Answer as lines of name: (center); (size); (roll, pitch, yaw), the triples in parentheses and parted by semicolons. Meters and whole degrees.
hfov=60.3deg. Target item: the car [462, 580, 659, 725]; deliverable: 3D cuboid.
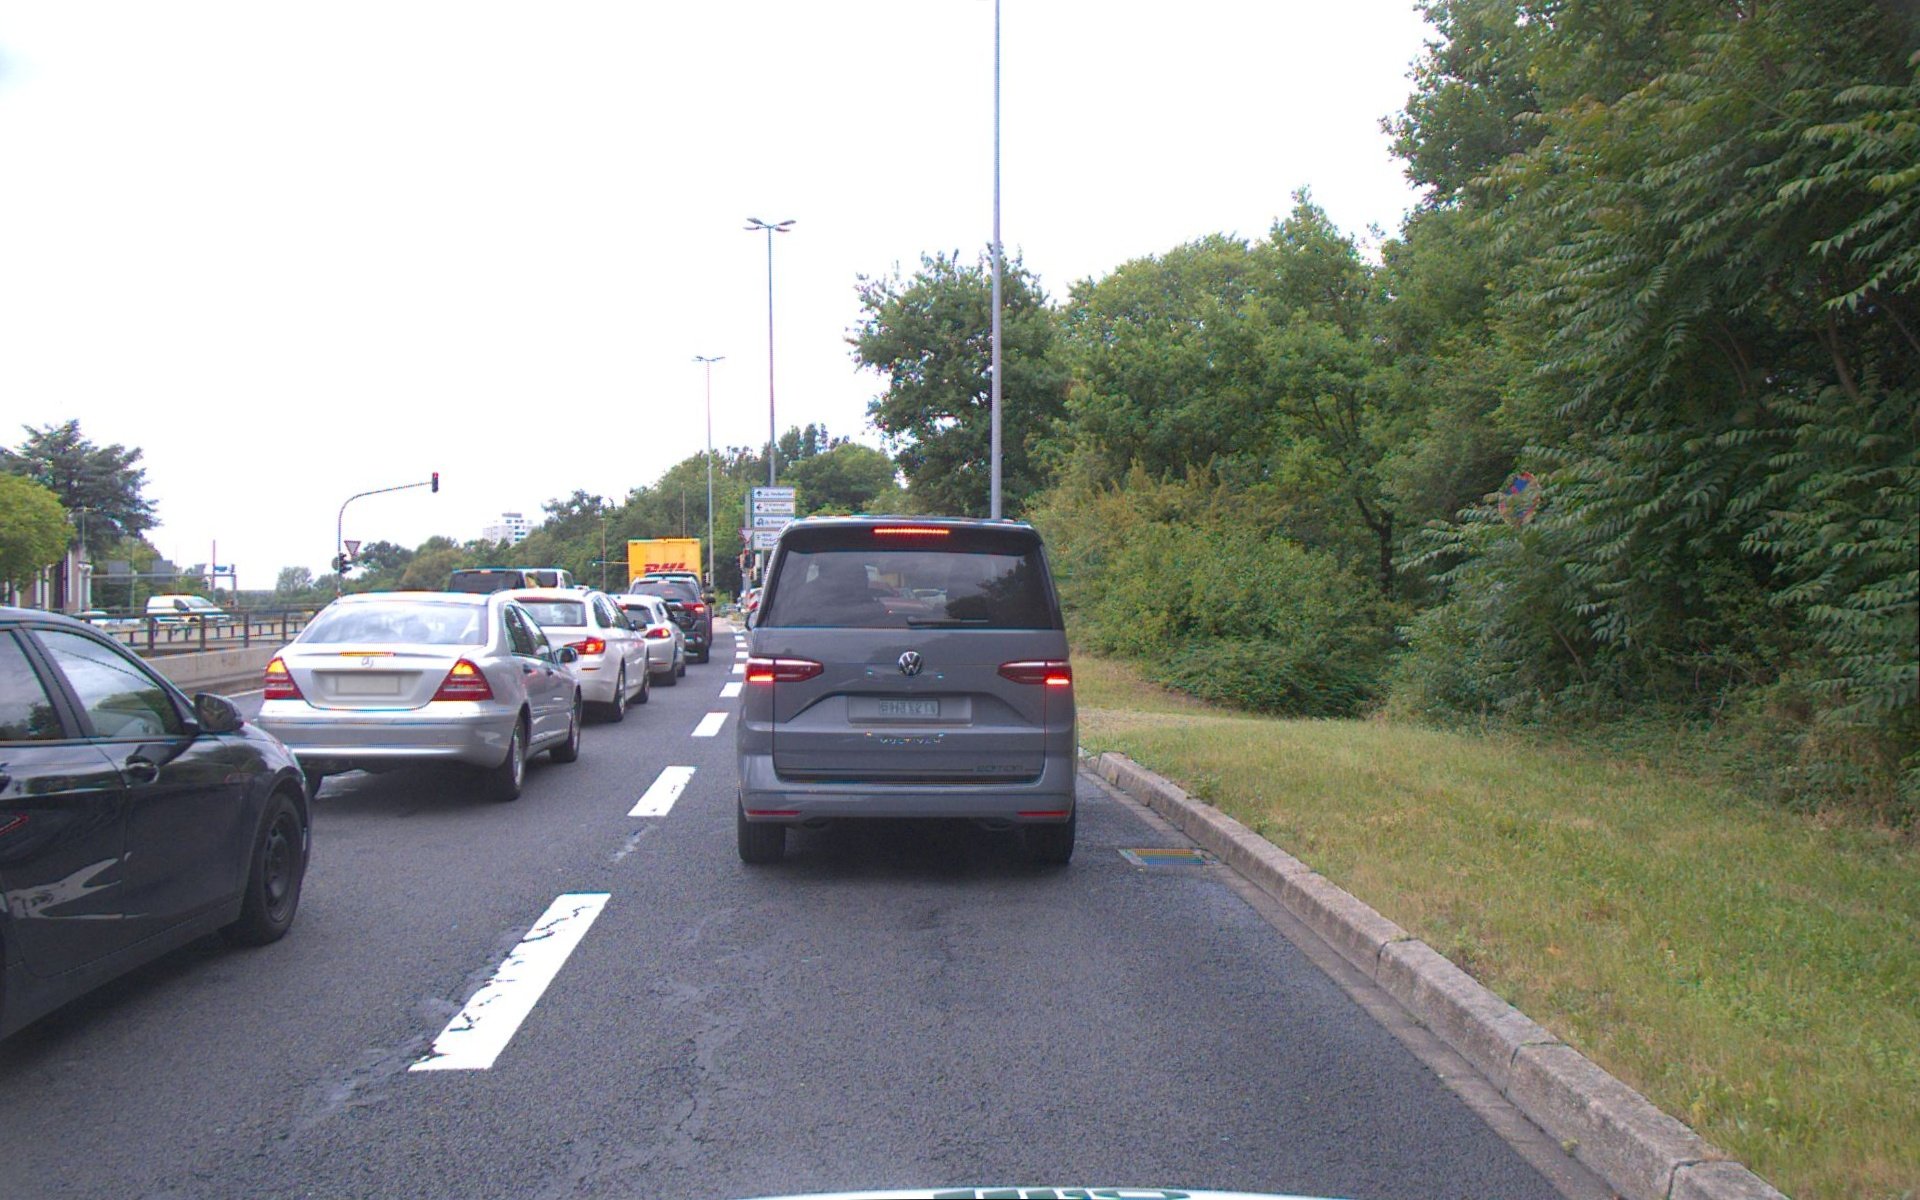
car: (-4.670, 0.573, 19.916); (1.592, 1.521, 4.542); (1, 0, -5)

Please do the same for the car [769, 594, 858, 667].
car: (-3.312, 0.672, 38.019); (1.847, 1.572, 3.998); (1, 0, -3)

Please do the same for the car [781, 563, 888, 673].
car: (-2.418, 0.325, 31.431); (1.848, 1.912, 4.424); (1, 0, -5)

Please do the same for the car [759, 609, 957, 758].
car: (-1.052, 0.803, 17.691); (1.847, 1.379, 3.998); (1, 0, -3)

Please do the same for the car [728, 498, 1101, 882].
car: (-0.303, 0.470, 10.606); (1.861, 1.917, 4.413); (1, 0, -2)

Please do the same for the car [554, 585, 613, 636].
car: (-13.231, 0.362, 58.345); (1.593, 1.731, 4.289); (1, 0, -7)

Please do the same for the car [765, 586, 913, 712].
car: (-1.618, 0.629, 22.994); (1.847, 1.572, 3.998); (1, 0, -3)

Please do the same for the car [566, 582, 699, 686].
car: (-5.211, 0.515, 26.778); (1.592, 1.521, 4.292); (1, 0, -5)

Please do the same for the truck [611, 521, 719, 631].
truck: (-9.104, -0.648, 51.978); (2.867, 3.097, 9.326); (-1, 0, -8)

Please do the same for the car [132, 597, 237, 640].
car: (-38.687, 0.906, 82.533); (4.695, 2.049, 2.000); (0, 0, 20)

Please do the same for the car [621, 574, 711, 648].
car: (-7.364, 0.278, 41.815); (1.848, 1.730, 4.424); (1, 0, -5)

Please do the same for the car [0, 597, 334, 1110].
car: (-3.523, 0.702, 5.485); (1.591, 1.419, 3.997); (1, 0, -4)

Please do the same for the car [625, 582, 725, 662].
car: (-5.781, 0.429, 33.936); (1.592, 1.521, 4.292); (1, 0, -5)

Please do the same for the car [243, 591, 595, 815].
car: (-3.940, 0.671, 12.776); (1.592, 1.419, 4.304); (1, 0, -5)

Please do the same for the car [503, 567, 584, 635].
car: (-11.250, 0.038, 44.865); (1.593, 1.731, 4.289); (1, 0, -7)

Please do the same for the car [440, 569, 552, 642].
car: (-10.295, 0.128, 36.975); (1.592, 1.521, 4.292); (1, 0, -5)
